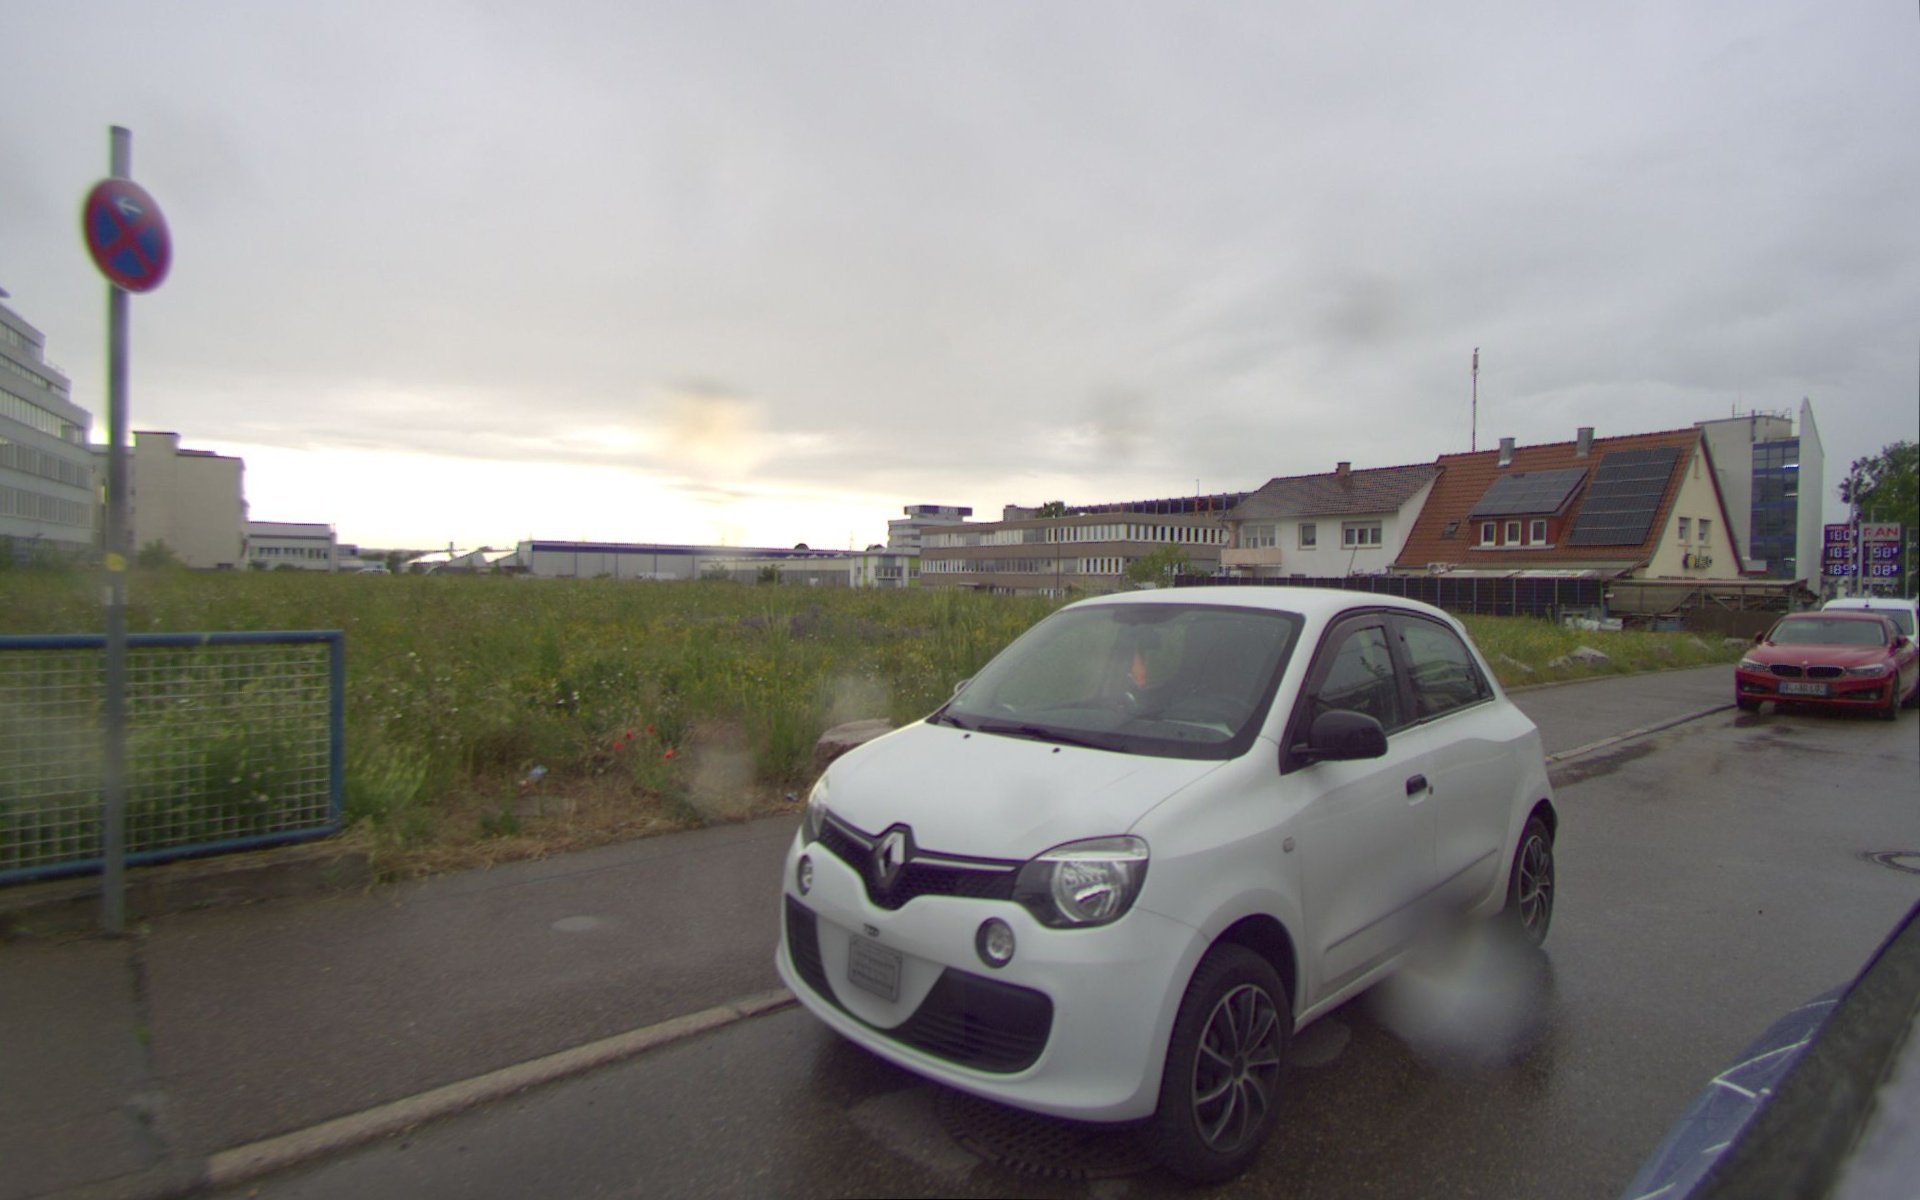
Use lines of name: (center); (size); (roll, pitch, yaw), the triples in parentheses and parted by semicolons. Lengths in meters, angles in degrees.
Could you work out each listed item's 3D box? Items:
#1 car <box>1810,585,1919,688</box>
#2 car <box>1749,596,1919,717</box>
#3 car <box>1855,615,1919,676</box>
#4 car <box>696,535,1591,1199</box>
car: (18.503, 0.674, 20.248); (4.497, 1.848, 1.770); (0, -1, -43)
car: (13.651, 0.757, 15.488); (4.562, 1.595, 1.645); (0, -1, -41)
car: (23.170, 1.066, 24.555); (4.248, 1.353, 1.770); (0, -1, -43)
car: (0.996, 0.651, 4.011); (3.612, 1.577, 1.683); (0, 0, -43)
